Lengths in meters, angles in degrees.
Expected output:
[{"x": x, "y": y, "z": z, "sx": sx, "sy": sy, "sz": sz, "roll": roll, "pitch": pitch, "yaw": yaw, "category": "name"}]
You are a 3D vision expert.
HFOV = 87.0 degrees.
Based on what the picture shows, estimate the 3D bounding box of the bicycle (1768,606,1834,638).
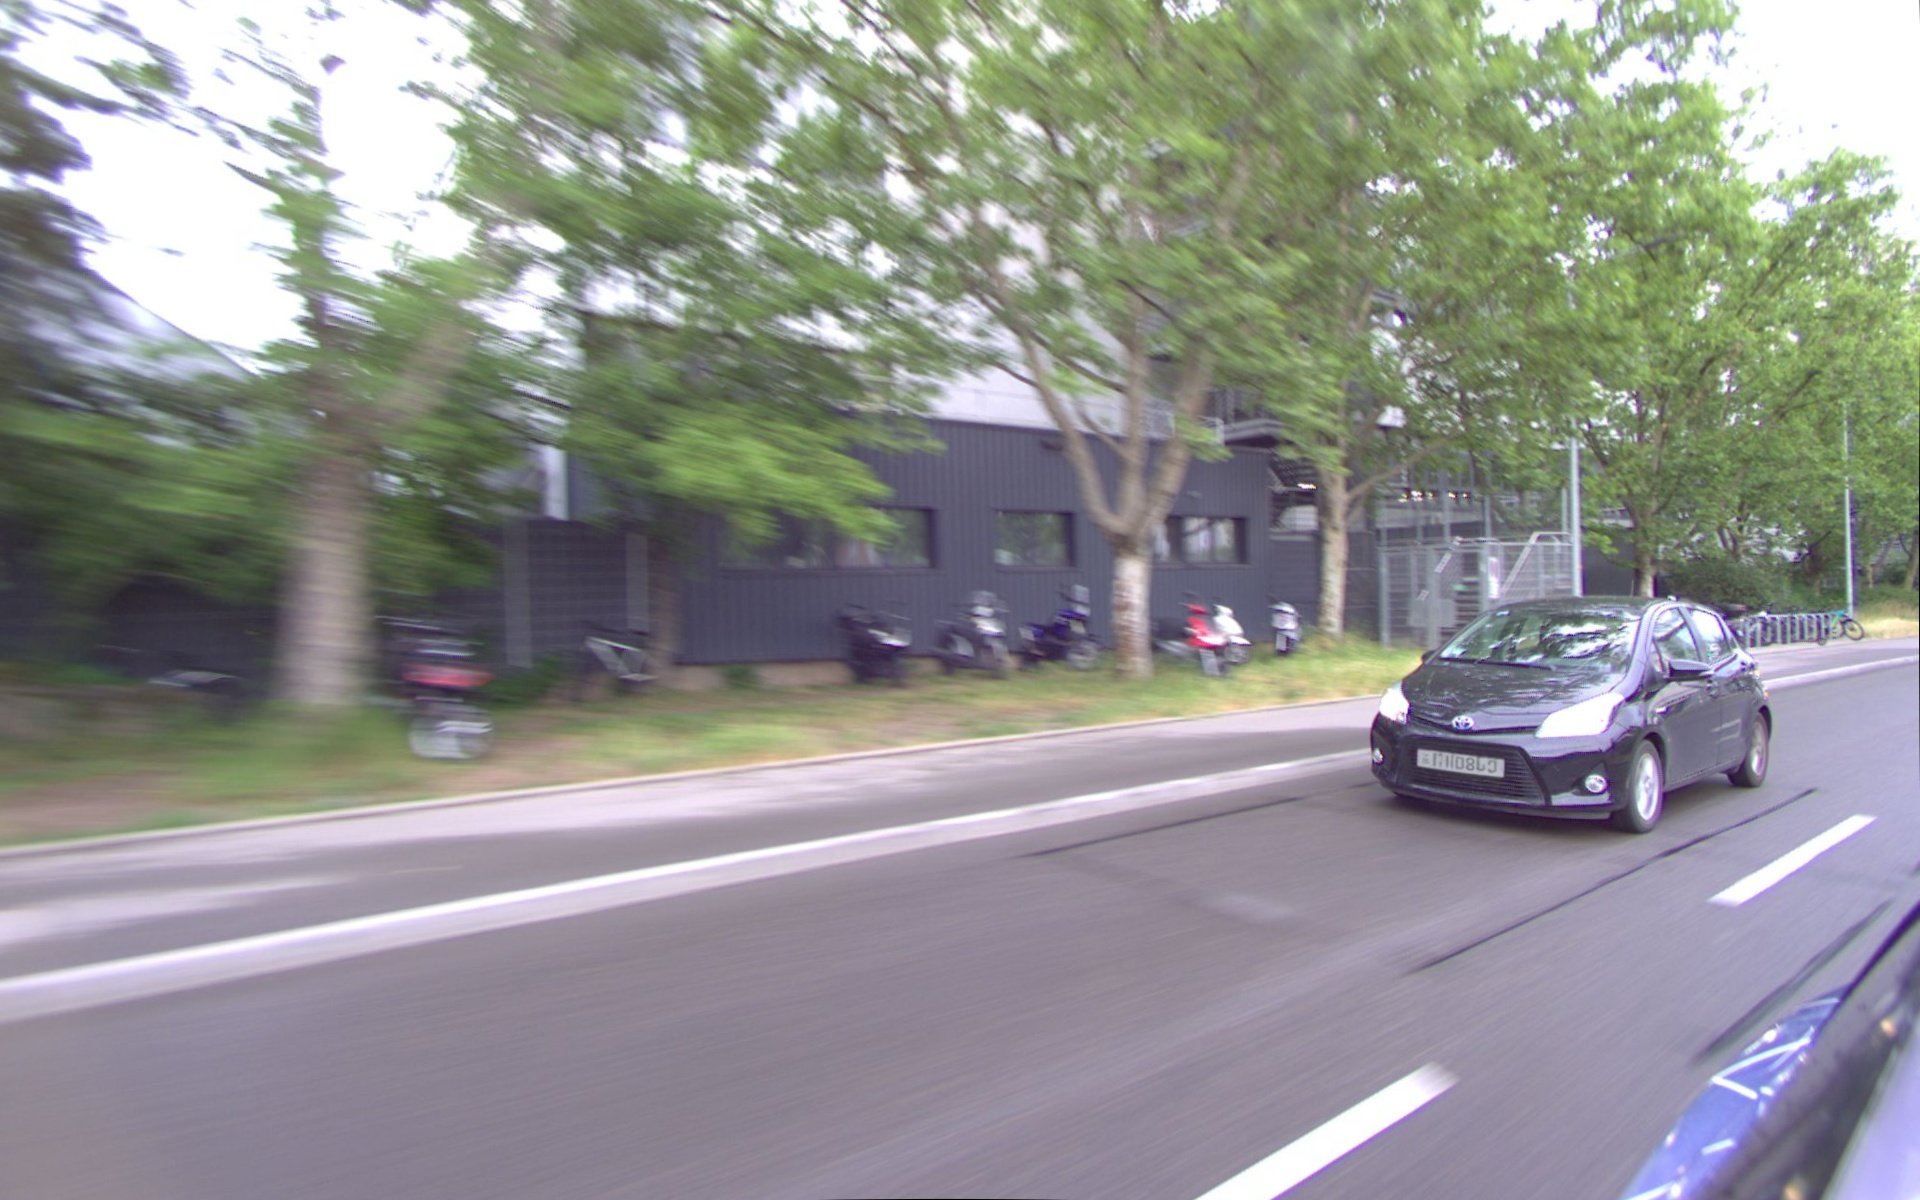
[{"x": 26.350, "y": 0.682, "z": 31.737, "sx": 0.386, "sy": 0.970, "sz": 1.555, "roll": 0, "pitch": 1, "yaw": -37, "category": "bicycle"}]

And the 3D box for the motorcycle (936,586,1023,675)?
[{"x": 0.302, "y": 0.498, "z": 16.543, "sx": 0.498, "sy": 1.382, "sz": 1.500, "roll": 0, "pitch": -2, "yaw": -42, "category": "motorcycle"}]

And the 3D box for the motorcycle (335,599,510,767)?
[{"x": -4.318, "y": 0.601, "z": 8.079, "sx": 1.844, "sy": 1.206, "sz": 0.514, "roll": 0, "pitch": 0, "yaw": 38, "category": "motorcycle"}]

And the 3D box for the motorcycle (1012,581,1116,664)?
[{"x": 1.795, "y": 0.398, "z": 17.687, "sx": 0.498, "sy": 1.382, "sz": 1.930, "roll": 0, "pitch": -2, "yaw": -42, "category": "motorcycle"}]

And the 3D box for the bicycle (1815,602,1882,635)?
[{"x": 28.320, "y": 0.578, "z": 32.264, "sx": 0.386, "sy": 1.018, "sz": 1.555, "roll": 0, "pitch": 1, "yaw": -37, "category": "bicycle"}]

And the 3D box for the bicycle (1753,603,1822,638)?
[{"x": 24.949, "y": 0.601, "z": 30.527, "sx": 0.386, "sy": 1.018, "sz": 1.555, "roll": 0, "pitch": 1, "yaw": -37, "category": "bicycle"}]

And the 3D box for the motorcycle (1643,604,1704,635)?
[{"x": 24.452, "y": 0.653, "z": 34.714, "sx": 0.566, "sy": 1.014, "sz": 1.611, "roll": 0, "pitch": 1, "yaw": -38, "category": "motorcycle"}]

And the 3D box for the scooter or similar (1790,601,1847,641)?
[{"x": 24.640, "y": 0.604, "z": 29.064, "sx": 0.307, "sy": 1.105, "sz": 1.214, "roll": 0, "pitch": 1, "yaw": -41, "category": "scooter or similar"}]

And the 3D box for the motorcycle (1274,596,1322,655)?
[{"x": 6.904, "y": 0.500, "z": 20.655, "sx": 0.474, "sy": 1.160, "sz": 1.876, "roll": -3, "pitch": -1, "yaw": 32, "category": "motorcycle"}]

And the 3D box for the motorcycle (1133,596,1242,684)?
[{"x": 3.203, "y": 0.558, "z": 14.386, "sx": 0.483, "sy": 1.165, "sz": 1.659, "roll": -1, "pitch": -1, "yaw": -29, "category": "motorcycle"}]

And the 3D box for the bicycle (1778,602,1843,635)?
[{"x": 27.094, "y": 0.577, "z": 32.253, "sx": 0.386, "sy": 1.018, "sz": 1.555, "roll": 0, "pitch": 1, "yaw": -37, "category": "bicycle"}]

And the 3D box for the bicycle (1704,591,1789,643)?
[{"x": 21.719, "y": 0.450, "z": 27.972, "sx": 1.856, "sy": 1.365, "sz": 0.441, "roll": 1, "pitch": 1, "yaw": 41, "category": "bicycle"}]

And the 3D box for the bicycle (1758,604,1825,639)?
[{"x": 25.532, "y": 0.661, "z": 31.091, "sx": 0.386, "sy": 1.018, "sz": 1.555, "roll": 0, "pitch": 1, "yaw": -37, "category": "bicycle"}]

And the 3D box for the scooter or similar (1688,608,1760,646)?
[{"x": 20.047, "y": 0.696, "z": 26.575, "sx": 0.360, "sy": 0.948, "sz": 1.476, "roll": 0, "pitch": 1, "yaw": -40, "category": "scooter or similar"}]

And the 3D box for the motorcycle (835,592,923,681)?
[{"x": -1.267, "y": 0.548, "z": 15.398, "sx": 0.481, "sy": 1.274, "sz": 1.921, "roll": -1, "pitch": -1, "yaw": -32, "category": "motorcycle"}]

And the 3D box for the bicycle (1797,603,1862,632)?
[{"x": 29.211, "y": 0.576, "z": 34.016, "sx": 0.380, "sy": 0.951, "sz": 1.612, "roll": 0, "pitch": 1, "yaw": -37, "category": "bicycle"}]

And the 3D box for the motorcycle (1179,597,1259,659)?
[{"x": 5.103, "y": 0.551, "z": 20.022, "sx": 0.548, "sy": 1.160, "sz": 1.646, "roll": -1, "pitch": -1, "yaw": -27, "category": "motorcycle"}]

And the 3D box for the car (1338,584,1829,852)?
[{"x": 4.998, "y": 0.658, "z": 7.833, "sx": 4.556, "sy": 1.488, "sz": 1.749, "roll": -1, "pitch": 0, "yaw": -38, "category": "car"}]

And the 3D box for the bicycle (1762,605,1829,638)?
[{"x": 26.002, "y": 0.650, "z": 31.519, "sx": 0.386, "sy": 0.970, "sz": 1.555, "roll": 0, "pitch": 1, "yaw": -37, "category": "bicycle"}]

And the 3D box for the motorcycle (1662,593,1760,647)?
[{"x": 18.903, "y": 0.480, "z": 25.518, "sx": 0.432, "sy": 1.289, "sz": 2.019, "roll": 0, "pitch": 1, "yaw": -25, "category": "motorcycle"}]

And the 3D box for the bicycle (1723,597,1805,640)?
[{"x": 23.141, "y": 0.526, "z": 29.156, "sx": 0.440, "sy": 1.182, "sz": 1.790, "roll": 0, "pitch": 1, "yaw": -43, "category": "bicycle"}]
